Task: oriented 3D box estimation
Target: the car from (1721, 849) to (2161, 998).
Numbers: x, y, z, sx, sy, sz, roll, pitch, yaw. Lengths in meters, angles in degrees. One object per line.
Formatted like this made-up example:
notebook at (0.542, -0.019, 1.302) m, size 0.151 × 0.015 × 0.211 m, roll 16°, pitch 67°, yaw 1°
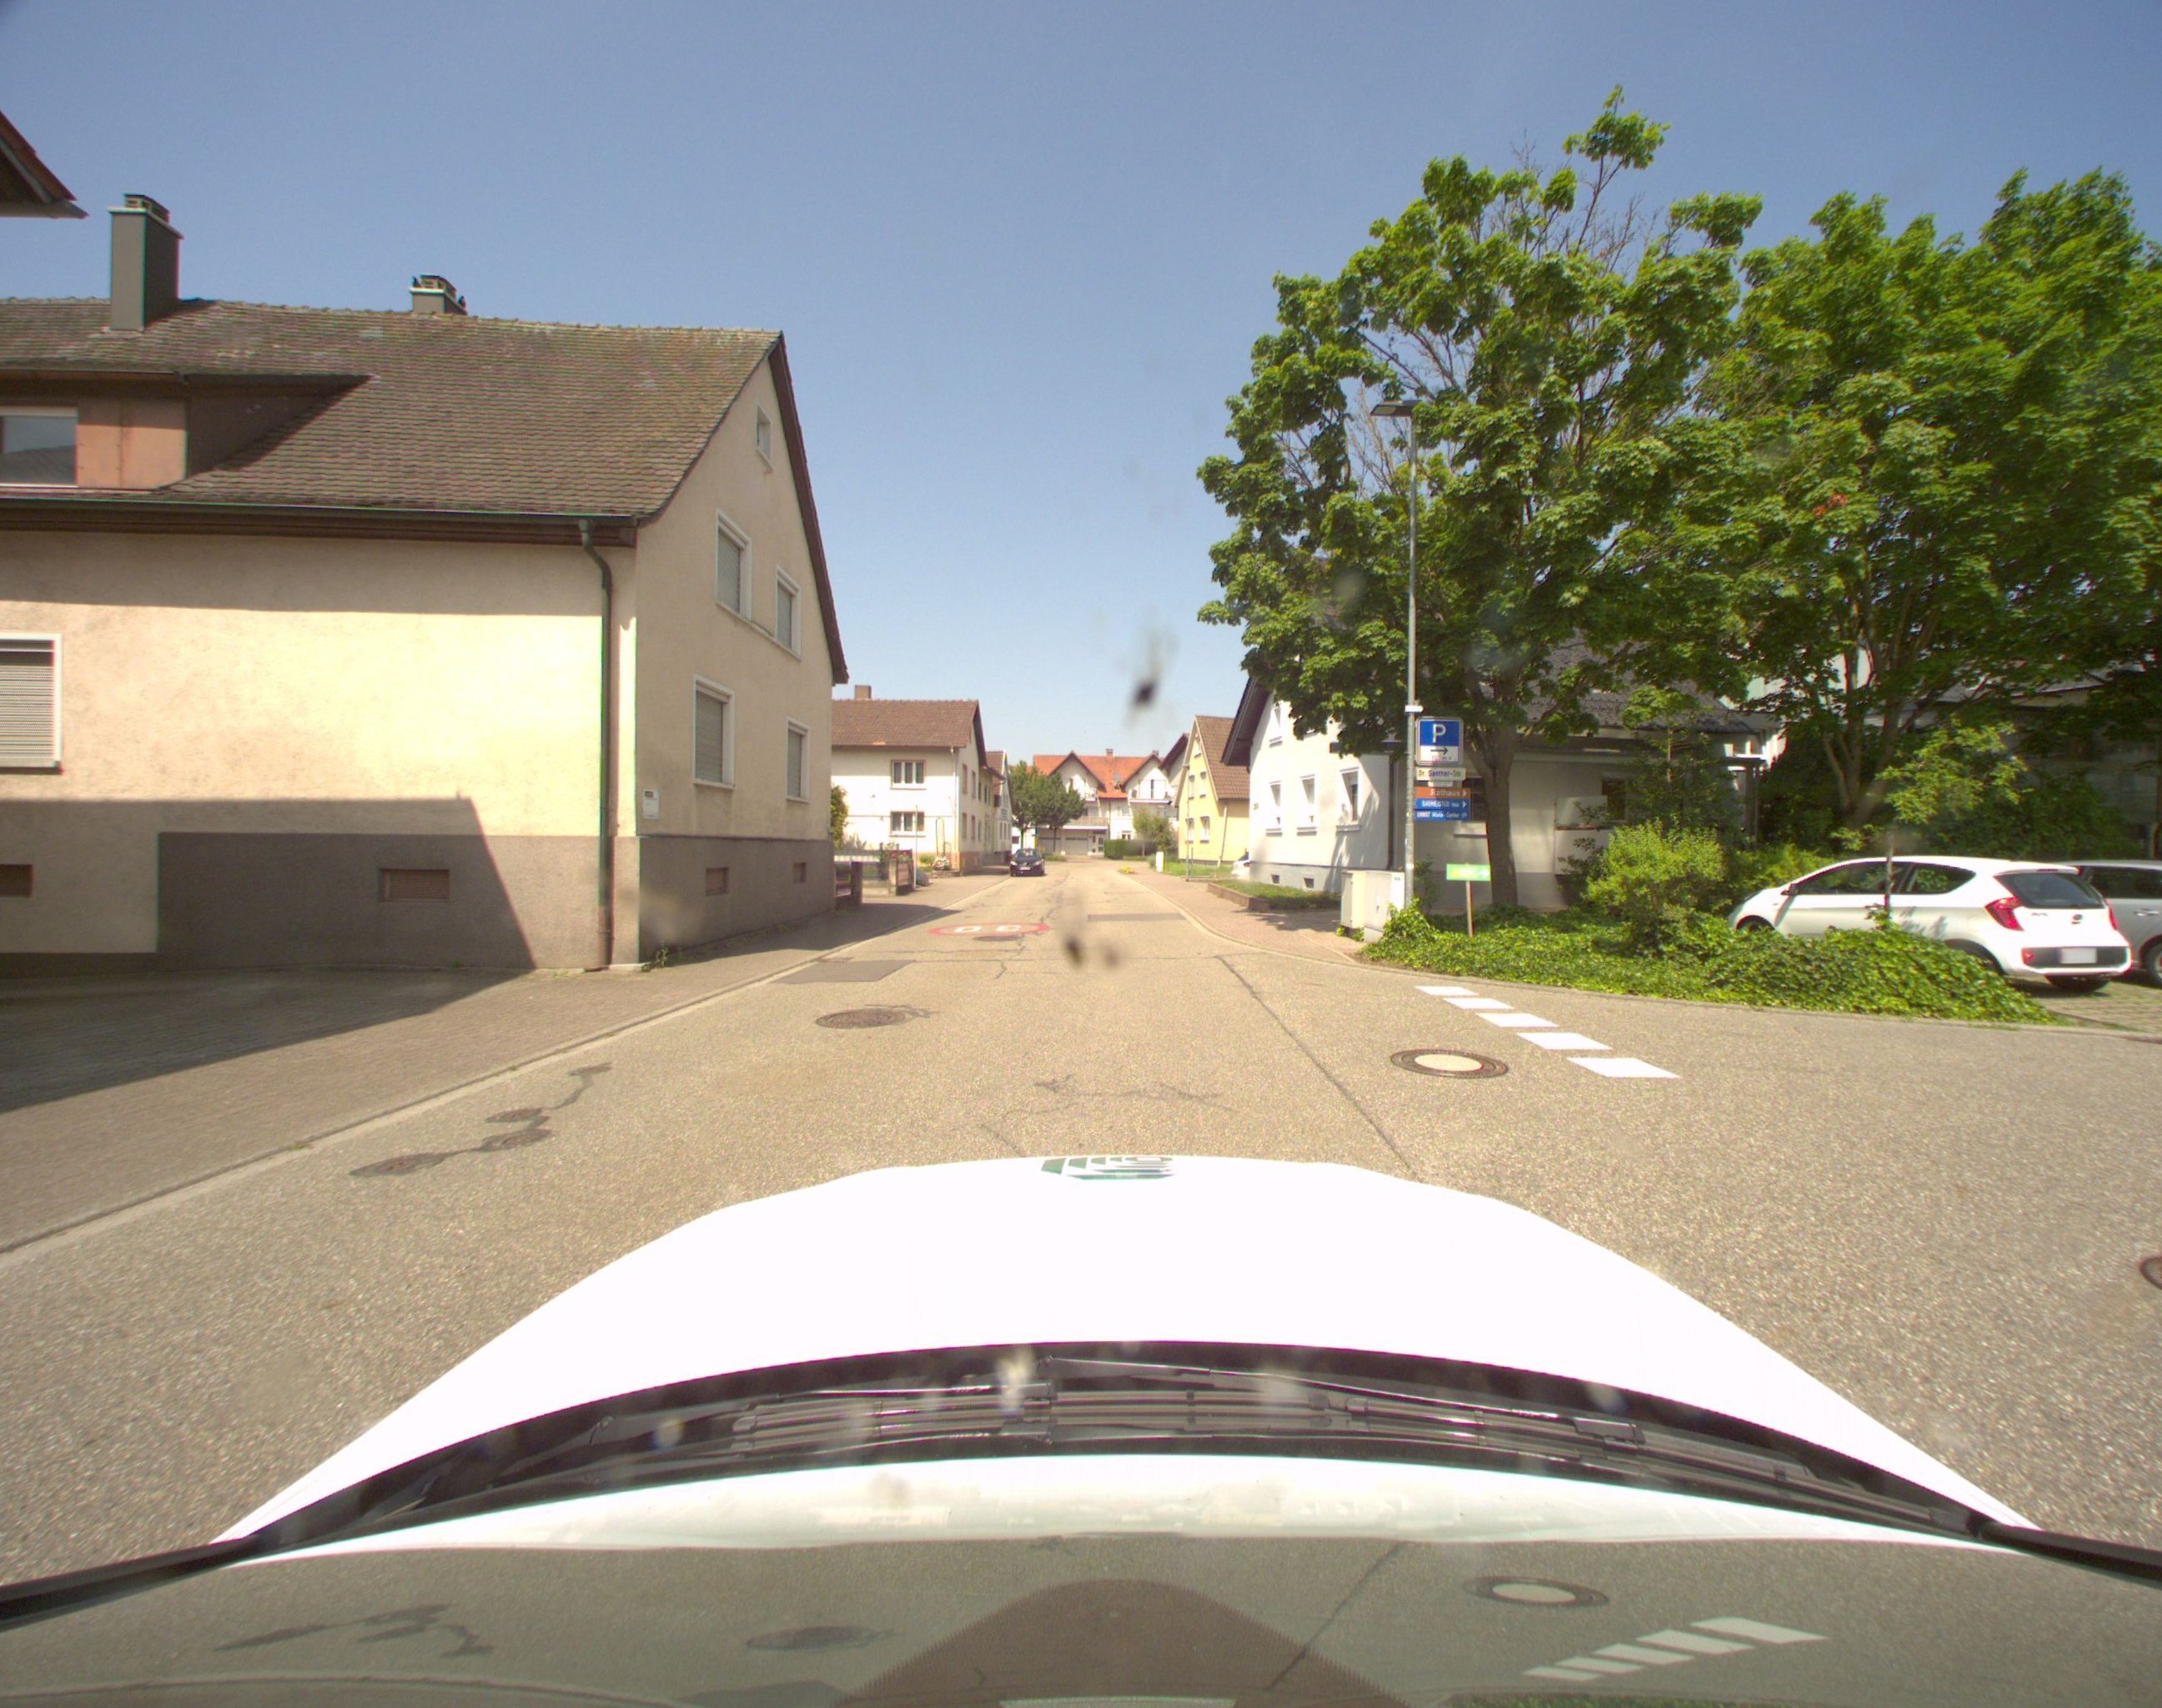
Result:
car at (10.329, 0.709, 10.205) m, size 1.590 × 1.445 × 3.560 m, roll 0°, pitch 2°, yaw -7°

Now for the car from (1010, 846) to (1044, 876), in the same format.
car at (-2.859, 0.351, 43.593) m, size 1.622 × 1.486 × 3.998 m, roll -1°, pitch 1°, yaw -1°

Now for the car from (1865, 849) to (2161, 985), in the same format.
car at (12.903, 0.722, 10.503) m, size 1.590 × 1.473 × 3.854 m, roll 0°, pitch 2°, yaw -8°

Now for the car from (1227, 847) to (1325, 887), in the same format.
car at (6.744, 0.445, 28.302) m, size 3.040 × 1.345 × 1.419 m, roll 0°, pitch -1°, yaw -8°
